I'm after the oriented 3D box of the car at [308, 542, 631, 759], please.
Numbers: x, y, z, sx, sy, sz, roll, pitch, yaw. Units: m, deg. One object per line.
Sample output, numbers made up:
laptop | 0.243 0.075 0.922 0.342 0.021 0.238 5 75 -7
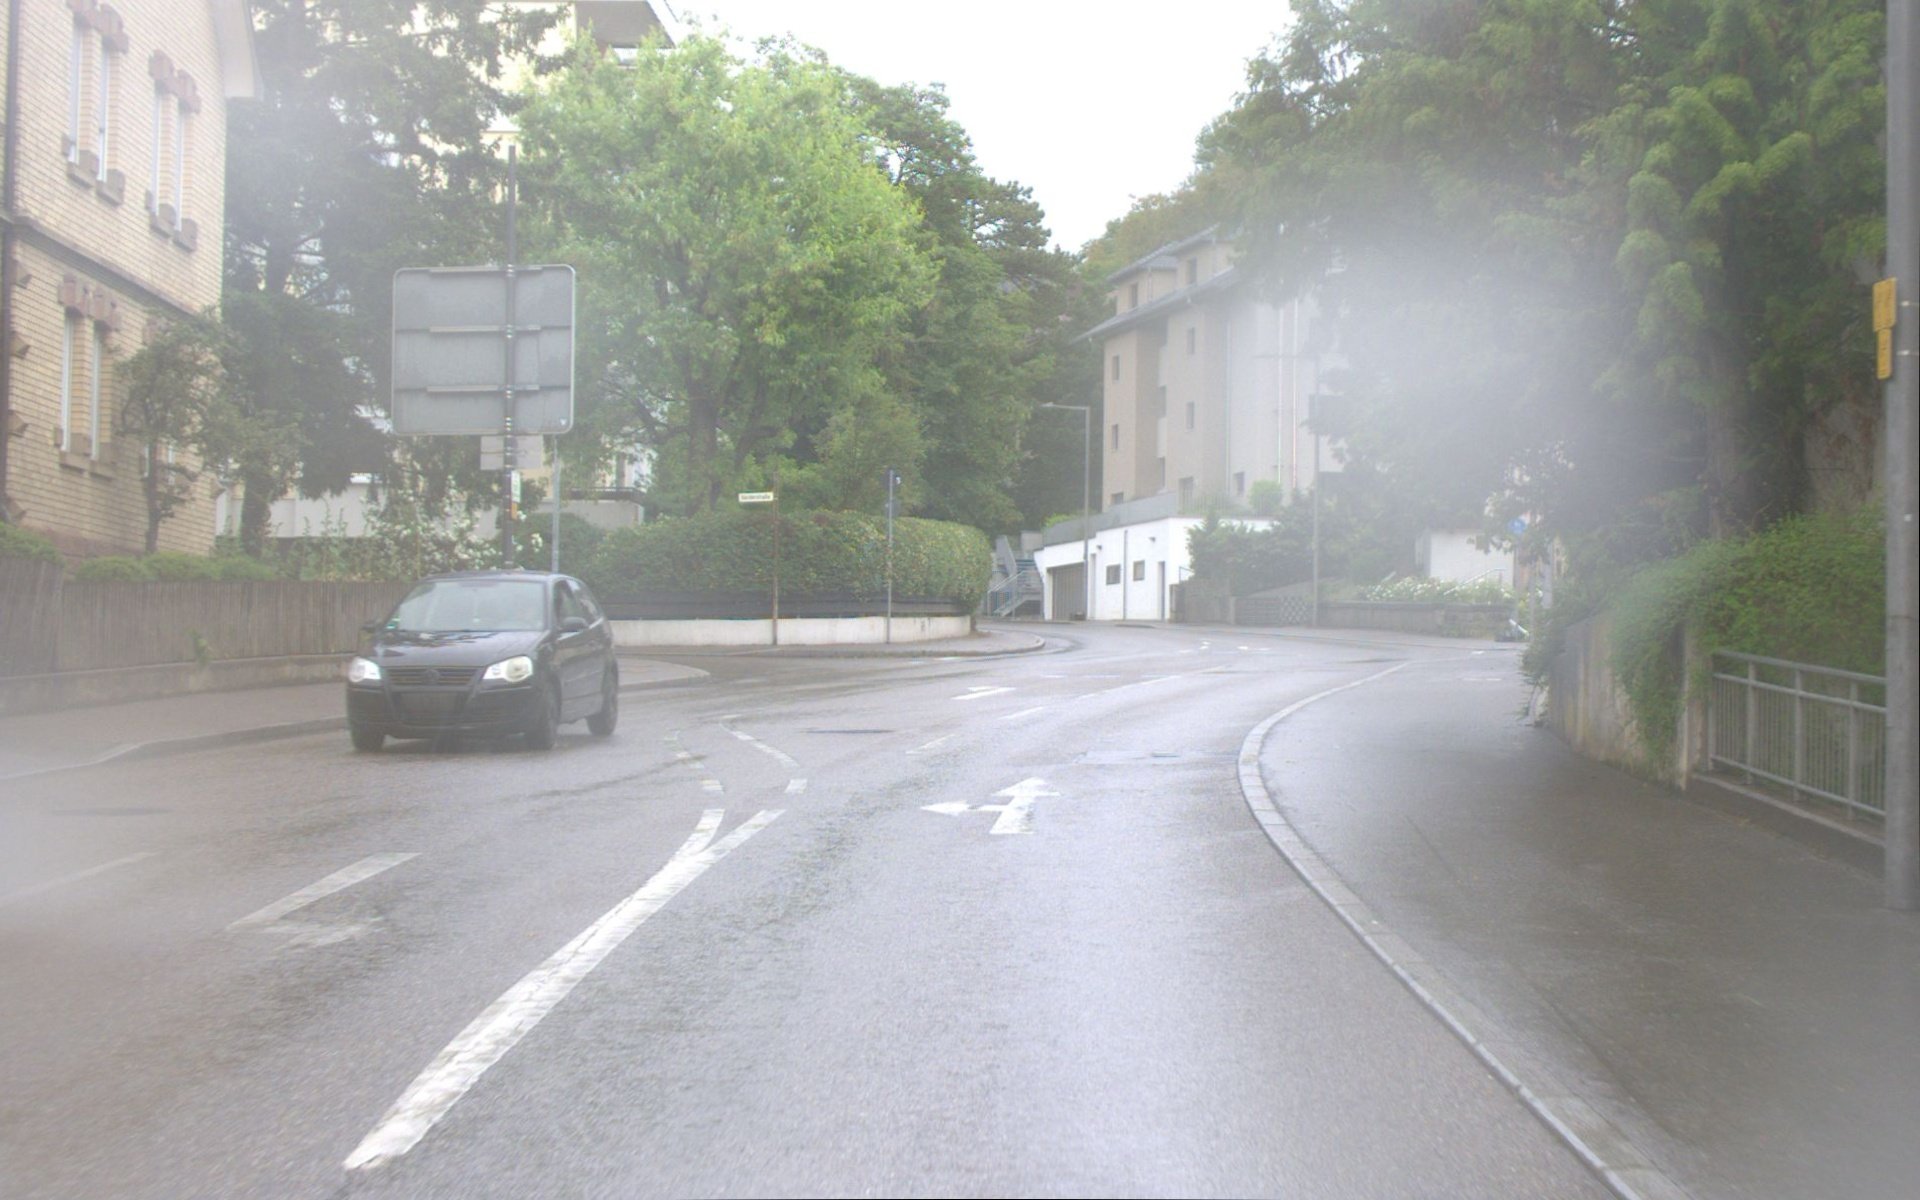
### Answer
car | -4.020 0.388 28.766 1.745 1.566 3.812 4 1 5
